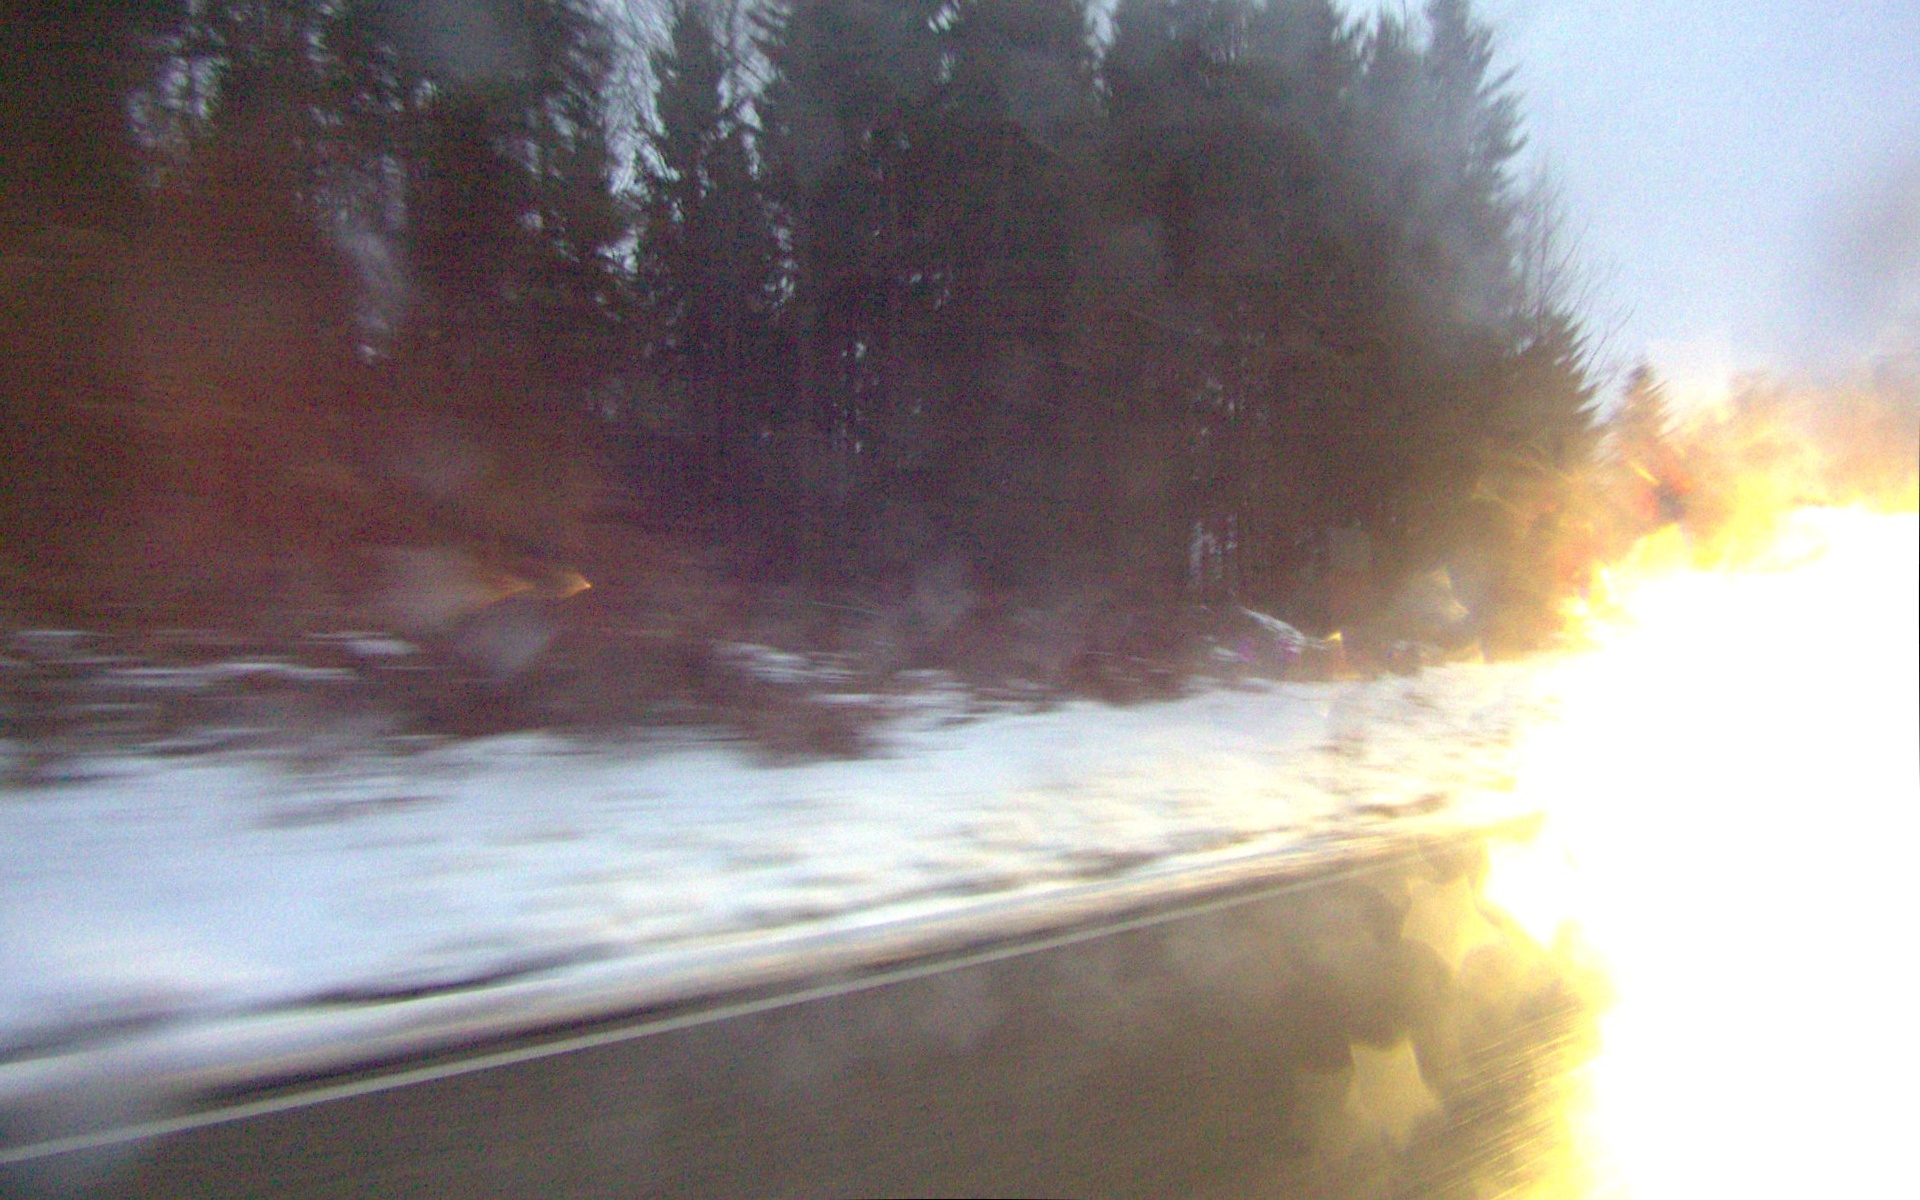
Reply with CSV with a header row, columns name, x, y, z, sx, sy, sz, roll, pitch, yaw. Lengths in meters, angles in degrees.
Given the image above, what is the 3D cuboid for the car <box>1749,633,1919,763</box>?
name,x,y,z,sx,sy,sz,roll,pitch,yaw
car,12.384,1.220,13.866,4.518,1.512,1.757,2,-2,-44

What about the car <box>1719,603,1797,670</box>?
name,x,y,z,sx,sy,sz,roll,pitch,yaw
car,34.199,1.576,43.171,2.222,2.680,4.991,-1,-3,34

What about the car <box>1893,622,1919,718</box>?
name,x,y,z,sx,sy,sz,roll,pitch,yaw
car,22.496,1.566,22.723,1.973,2.078,3.977,-1,-3,44
